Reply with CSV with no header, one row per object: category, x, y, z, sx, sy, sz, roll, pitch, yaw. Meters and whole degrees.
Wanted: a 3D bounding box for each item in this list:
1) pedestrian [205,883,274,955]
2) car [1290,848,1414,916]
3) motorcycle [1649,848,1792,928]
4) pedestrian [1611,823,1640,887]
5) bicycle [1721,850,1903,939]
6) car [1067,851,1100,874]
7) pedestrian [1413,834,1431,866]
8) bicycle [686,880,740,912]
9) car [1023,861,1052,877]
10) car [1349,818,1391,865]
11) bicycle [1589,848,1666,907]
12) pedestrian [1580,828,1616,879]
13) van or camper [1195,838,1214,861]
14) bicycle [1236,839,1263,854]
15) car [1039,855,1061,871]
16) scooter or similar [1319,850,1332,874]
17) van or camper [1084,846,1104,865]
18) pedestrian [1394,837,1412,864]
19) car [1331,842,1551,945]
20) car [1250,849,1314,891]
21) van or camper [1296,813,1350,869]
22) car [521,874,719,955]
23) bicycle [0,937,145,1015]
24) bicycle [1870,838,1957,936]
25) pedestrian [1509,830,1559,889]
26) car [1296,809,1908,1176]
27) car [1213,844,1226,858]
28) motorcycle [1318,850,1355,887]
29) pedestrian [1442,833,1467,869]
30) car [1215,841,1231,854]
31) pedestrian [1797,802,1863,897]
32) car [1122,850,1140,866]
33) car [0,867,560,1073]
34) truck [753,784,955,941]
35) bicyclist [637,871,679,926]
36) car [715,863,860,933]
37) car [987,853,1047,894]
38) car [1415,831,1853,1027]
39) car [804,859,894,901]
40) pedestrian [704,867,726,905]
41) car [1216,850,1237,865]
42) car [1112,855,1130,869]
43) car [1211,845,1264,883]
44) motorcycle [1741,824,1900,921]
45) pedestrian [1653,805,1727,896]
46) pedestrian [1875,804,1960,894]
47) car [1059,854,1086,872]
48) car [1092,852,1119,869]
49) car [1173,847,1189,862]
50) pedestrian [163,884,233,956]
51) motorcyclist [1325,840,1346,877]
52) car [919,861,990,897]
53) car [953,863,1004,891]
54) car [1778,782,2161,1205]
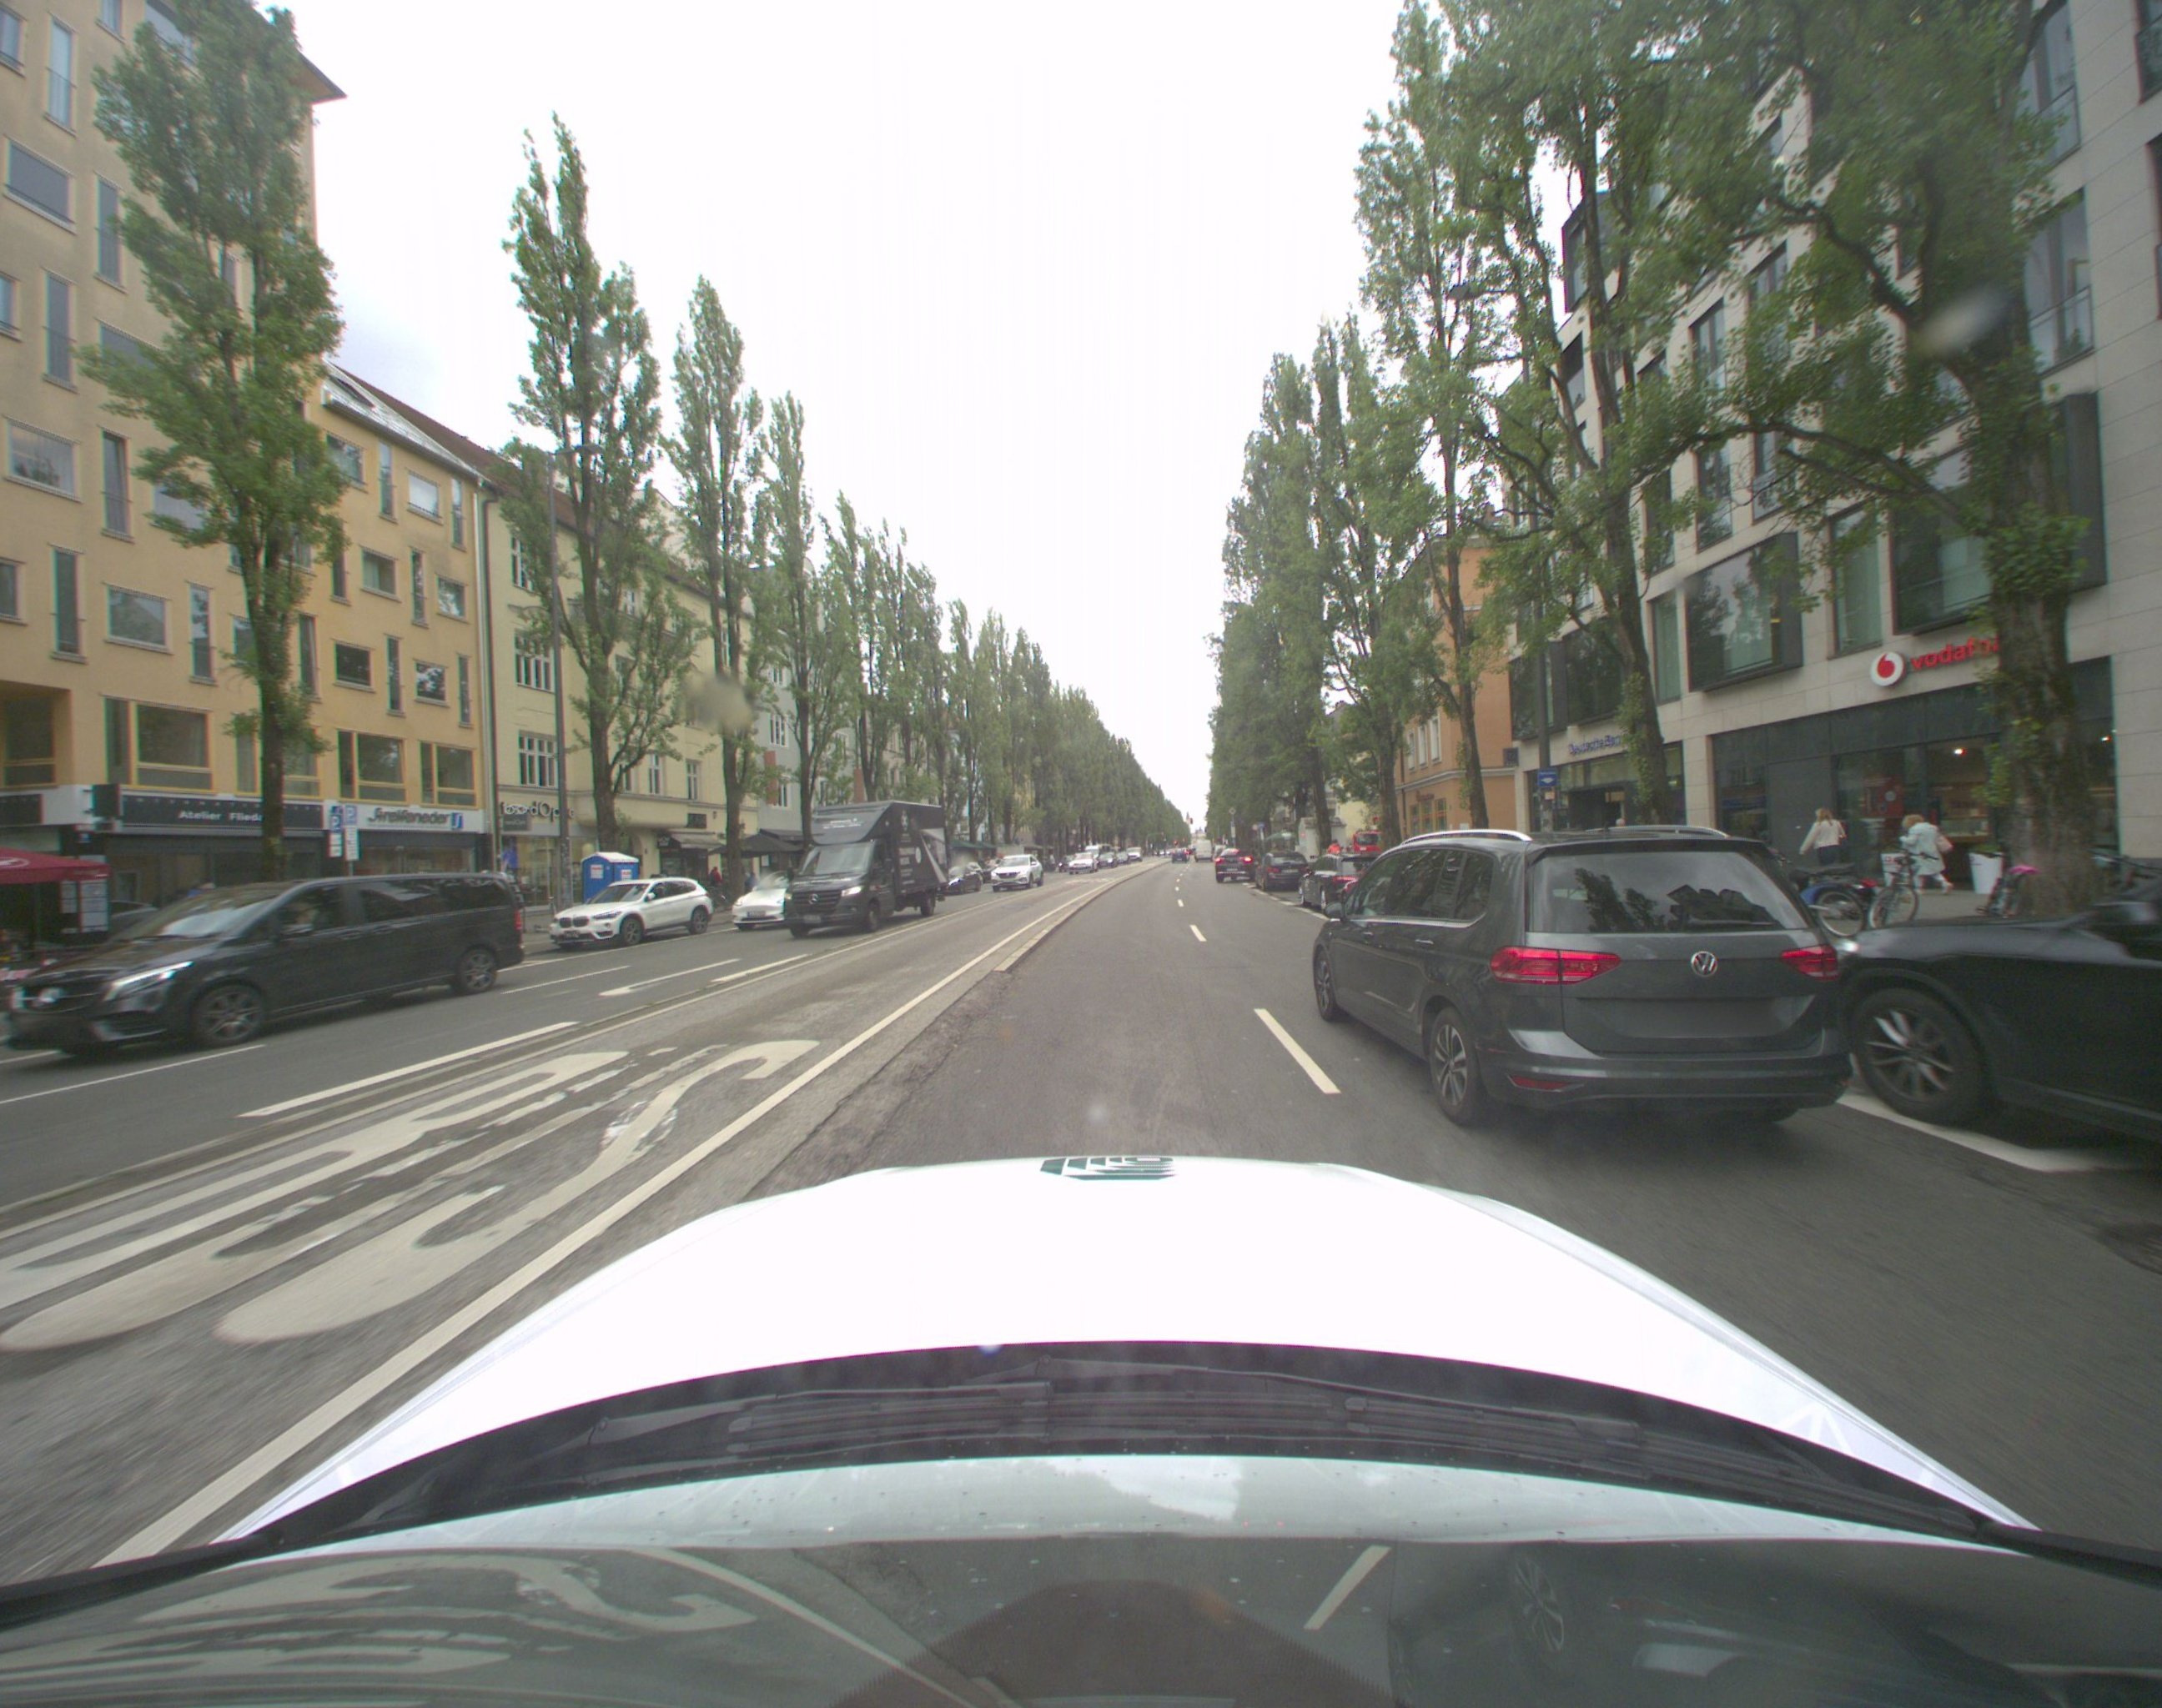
pedestrian,-19.897,1.519,19.270,0.835,1.625,0.765,-1,-1,6
car,6.451,0.601,19.921,1.838,1.428,4.431,-2,0,5
motorcycle,10.090,0.514,12.915,0.688,1.156,1.633,-3,0,-19
pedestrian,14.173,0.023,21.200,0.544,1.638,0.562,-3,0,32
bicycle,9.672,0.502,10.876,0.641,1.063,1.765,-3,0,-9
car,0.247,0.616,64.060,1.929,1.642,4.473,-3,0,7
pedestrian,18.199,-0.222,43.467,0.724,1.626,0.808,-3,0,17
bicycle,-14.153,1.621,31.303,2.107,1.101,0.508,-4,0,21
car,-3.691,1.277,70.139,1.800,1.250,3.708,-3,0,7
car,15.688,-0.673,44.182,1.885,2.328,4.849,-3,0,20
bicycle,11.707,0.482,17.506,0.453,1.188,1.716,-3,0,1
pedestrian,16.900,-0.022,26.623,0.730,1.621,0.842,-3,0,16
van or camper,14.467,-0.496,95.671,2.023,2.475,4.009,-3,-1,8
bicycle,23.117,-1.049,111.806,3.521,2.014,1.302,-1,-1,17
car,-2.834,0.817,75.379,1.504,1.344,3.244,-3,0,7
scooter or similar,13.512,0.413,44.979,0.520,1.232,1.484,-5,-1,21
van or camper,1.781,0.186,107.721,1.982,2.458,4.261,-3,0,8
pedestrian,19.568,-0.213,49.444,0.815,1.613,0.781,-3,0,10
car,6.096,0.583,14.549,1.923,1.450,4.807,-3,0,2
car,7.572,0.566,31.035,1.724,1.394,4.441,-3,0,6
van or camper,14.818,-0.771,50.103,2.446,3.112,4.727,-3,0,9
car,-11.508,1.439,20.763,1.981,1.629,4.393,-3,0,10
bicycle,-16.413,1.933,13.100,0.457,0.964,1.881,-3,0,1
bicycle,11.004,0.411,10.805,0.540,1.189,1.464,-3,0,37
pedestrian,12.797,0.148,23.017,0.831,1.576,0.938,-3,0,0
car,2.897,0.627,5.772,1.754,1.613,4.186,-2,0,2
car,20.215,-0.405,118.952,1.794,1.992,4.009,-1,-1,8
motorcycle,9.958,0.537,31.874,0.822,1.370,2.255,-3,0,4
pedestrian,16.574,-0.121,36.134,0.607,1.551,0.710,-4,0,-20
car,17.718,-0.815,101.784,1.794,1.596,4.009,-1,-1,8
pedestrian,14.445,-0.077,15.729,0.786,1.772,0.686,-3,0,36
car,6.729,0.510,109.103,1.982,1.934,4.929,-5,-1,8
car,-10.245,1.245,11.076,1.983,1.863,5.723,-4,0,7
truck,-5.566,0.171,21.520,2.278,3.322,7.173,-4,0,8
bicyclist,-12.747,1.323,24.565,0.493,1.580,1.109,-3,0,7
car,-8.462,1.205,24.028,1.982,1.651,4.646,-4,0,8
car,-3.013,0.902,39.297,1.850,1.711,4.546,-4,0,8
car,5.466,0.605,9.025,1.802,1.500,4.811,-3,0,4
car,-9.650,1.054,34.258,1.928,1.493,4.306,-3,0,9
pedestrian,-17.035,1.489,37.888,0.536,1.747,0.757,-2,0,8
car,15.485,0.330,87.064,1.933,1.467,4.008,-3,0,7
car,4.502,0.856,90.868,1.702,1.414,3.731,-3,0,7
car,7.667,0.456,39.583,1.865,1.642,4.604,-3,0,18
motorcycle,11.292,0.274,12.502,0.688,1.356,1.633,-3,0,-19
pedestrian,13.137,-0.083,17.589,0.814,1.869,0.940,-3,0,4
pedestrian,15.752,-0.092,15.358,0.789,1.621,0.720,-3,0,9
car,-0.755,0.821,74.612,1.838,1.564,4.221,-3,-1,8
car,2.397,0.598,79.079,1.982,1.432,4.783,-4,0,8
car,11.326,0.058,92.133,1.749,1.619,3.755,-1,-1,8
pedestrian,-20.819,1.538,19.217,0.835,1.625,0.765,-1,-1,6
motorcyclist,9.992,0.166,32.013,0.561,1.406,0.767,-3,0,4
car,-5.914,1.121,38.723,1.928,1.434,4.550,-3,0,9
car,-6.376,1.384,51.042,1.982,1.482,4.331,-4,0,9
car,5.259,0.538,2.812,1.916,1.700,4.655,-1,-1,4
